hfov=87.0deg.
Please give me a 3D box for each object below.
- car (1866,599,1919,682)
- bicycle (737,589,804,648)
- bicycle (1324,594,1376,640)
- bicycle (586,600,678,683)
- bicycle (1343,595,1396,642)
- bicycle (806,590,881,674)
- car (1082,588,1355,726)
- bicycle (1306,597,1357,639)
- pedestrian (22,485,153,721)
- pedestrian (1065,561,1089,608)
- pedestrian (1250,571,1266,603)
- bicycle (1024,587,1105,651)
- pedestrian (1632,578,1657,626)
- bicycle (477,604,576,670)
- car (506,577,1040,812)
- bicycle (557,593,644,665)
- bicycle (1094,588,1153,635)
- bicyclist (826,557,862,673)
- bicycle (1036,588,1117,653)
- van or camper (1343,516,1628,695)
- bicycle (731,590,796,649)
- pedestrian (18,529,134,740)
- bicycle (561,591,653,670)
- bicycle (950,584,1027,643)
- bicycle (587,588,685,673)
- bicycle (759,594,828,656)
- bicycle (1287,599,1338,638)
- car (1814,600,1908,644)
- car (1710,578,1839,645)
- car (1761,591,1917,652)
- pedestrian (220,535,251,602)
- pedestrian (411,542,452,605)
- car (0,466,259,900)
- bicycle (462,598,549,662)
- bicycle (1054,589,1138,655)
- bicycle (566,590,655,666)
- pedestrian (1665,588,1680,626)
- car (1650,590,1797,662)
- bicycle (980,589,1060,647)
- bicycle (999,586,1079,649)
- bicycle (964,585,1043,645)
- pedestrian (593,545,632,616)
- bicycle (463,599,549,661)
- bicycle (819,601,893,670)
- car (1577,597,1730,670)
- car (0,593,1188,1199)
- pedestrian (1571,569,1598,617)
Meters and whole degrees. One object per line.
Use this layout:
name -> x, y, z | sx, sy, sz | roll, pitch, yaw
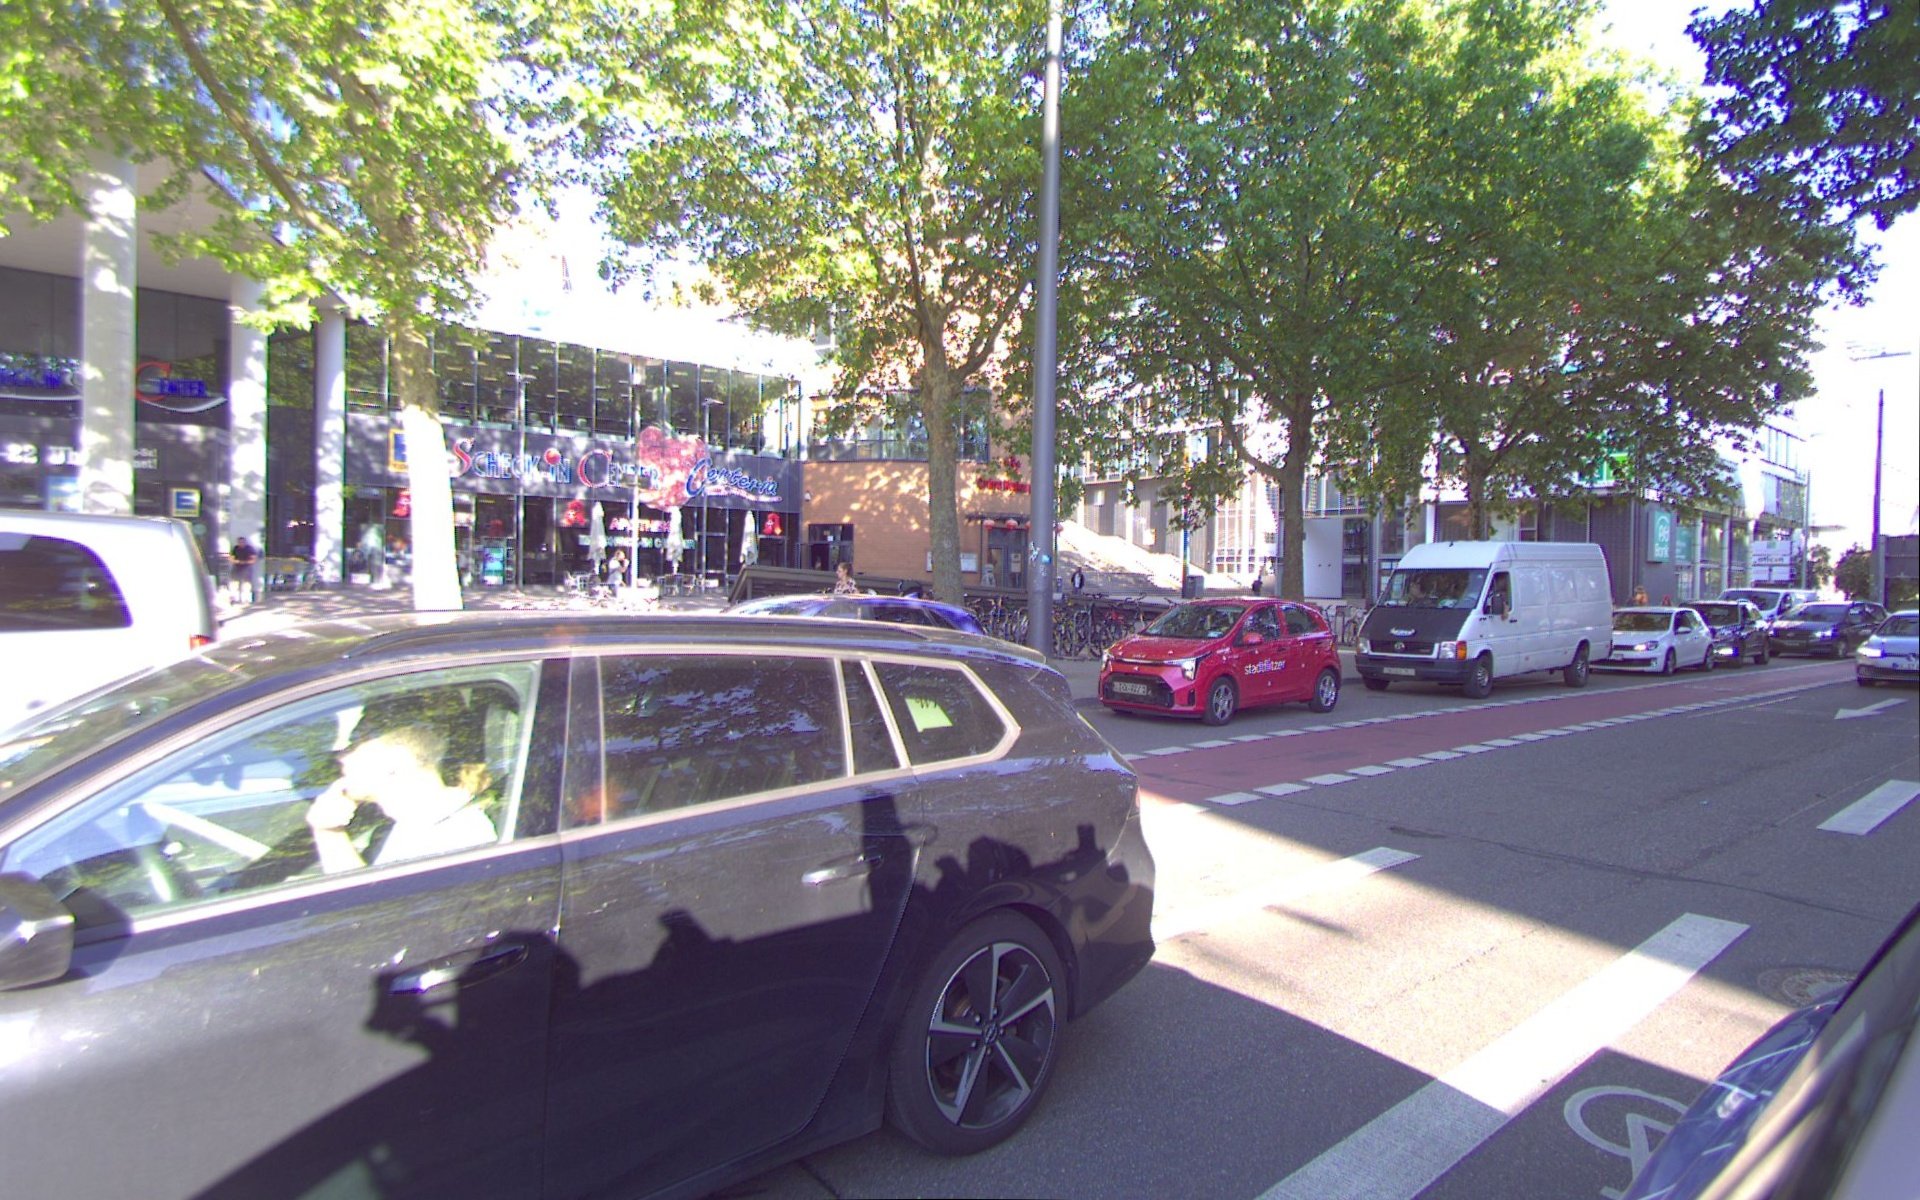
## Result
car -> 18.543, 0.716, 18.976 | 3.928, 1.458, 1.733 | 0, 0, -39
bicycle -> -3.646, 0.344, 19.505 | 1.202, 1.110, 0.444 | 0, 1, -40
bicycle -> 10.662, 0.447, 27.630 | 1.818, 1.209, 0.495 | 0, 2, -41
bicycle -> -4.584, 0.565, 14.180 | 1.202, 1.110, 0.269 | 0, 1, -40
bicycle -> 11.029, 0.480, 27.231 | 1.818, 1.209, 0.521 | 0, 2, -41
bicycle -> -1.818, 0.481, 15.820 | 1.126, 1.271, 0.379 | 0, 1, -41
car -> 3.351, 0.610, 12.817 | 3.588, 1.476, 1.605 | 0, 1, -41
bicycle -> 10.306, 0.493, 28.043 | 1.766, 1.108, 0.522 | 0, 2, -41
pedestrian -> -7.335, 0.019, 8.522 | 0.800, 1.868, 0.642 | 1, 1, -42
pedestrian -> 5.257, -0.702, 45.447 | 0.576, 2.062, 0.874 | 0, 1, -45
pedestrian -> 14.700, -0.650, 49.919 | 0.707, 1.578, 0.638 | 1, 1, 14
bicycle -> 2.107, 0.363, 20.258 | 1.818, 1.209, 0.484 | 0, 1, -41
pedestrian -> 25.650, 0.074, 37.927 | 0.443, 1.790, 0.627 | 0, 1, -38
bicycle -> -6.242, 0.519, 14.595 | 1.231, 0.898, 0.462 | 0, 1, -40
car -> -1.411, 0.599, 8.640 | 4.177, 1.503, 1.742 | 0, 2, -41
bicycle -> -5.785, 0.442, 16.317 | 0.414, 1.110, 1.269 | 2, 1, 41
bicycle -> 4.387, 0.306, 27.065 | 1.759, 1.209, 0.517 | 0, 2, -41
bicyclist -> -1.816, 0.226, 15.830 | 0.392, 1.782, 0.390 | 0, 1, -41
bicycle -> 2.295, 0.389, 19.749 | 1.818, 1.209, 0.448 | 0, 1, -41
van or camper -> 9.295, 0.065, 17.561 | 6.456, 2.611, 1.998 | 0, 0, -39
bicycle -> -3.891, 0.373, 20.048 | 1.202, 1.110, 0.429 | 0, 1, -40
pedestrian -> -7.920, 0.285, 9.097 | 0.751, 1.799, 0.648 | 1, 1, -40
bicycle -> -5.161, 0.425, 14.839 | 1.202, 1.110, 0.396 | 0, 1, -40
bicycle -> 0.633, 0.272, 21.700 | 1.818, 1.209, 0.434 | 0, 1, -41
bicycle -> -4.439, 0.400, 13.883 | 1.202, 1.110, 0.413 | 0, 1, -40
bicycle -> -3.092, 0.445, 18.858 | 1.202, 1.110, 0.427 | 0, 1, -40
bicycle -> 9.922, 0.507, 28.453 | 1.818, 1.046, 0.515 | 0, 2, -41
car -> 31.956, 0.736, 35.870 | 3.927, 1.394, 1.802 | 0, 2, -38
car -> 26.480, 0.348, 32.867 | 4.863, 2.020, 1.968 | 0, 1, -35
car -> 25.317, 0.584, 29.142 | 4.242, 1.640, 1.970 | 0, 1, -28
pedestrian -> -18.759, -0.804, 26.210 | 0.506, 1.707, 0.604 | 1, 1, -23
pedestrian -> -14.752, -0.741, 28.250 | 0.801, 1.728, 0.709 | 2, 1, 34
car -> -6.199, 0.357, 4.397 | 5.008, 2.004, 1.940 | 0, 2, -41
bicycle -> -6.962, 0.454, 15.542 | 1.198, 0.930, 0.442 | 1, 1, -22
bicycle -> 2.618, 0.400, 19.364 | 1.818, 1.209, 0.481 | 0, 1, -41
bicycle -> -5.363, 0.407, 15.587 | 0.372, 1.110, 1.269 | 2, 1, 41
pedestrian -> 26.798, 0.265, 38.073 | 0.492, 1.392, 0.301 | 0, 1, -37
car -> 19.042, 0.594, 25.184 | 4.148, 1.640, 1.819 | 0, 1, -36
bicycle -> 1.252, 0.353, 20.968 | 1.818, 1.139, 0.484 | 0, 2, -41
bicycle -> 1.625, 0.340, 20.519 | 1.818, 1.209, 0.447 | 0, 1, -41
bicycle -> 0.932, 0.298, 21.347 | 1.818, 1.209, 0.458 | 0, 1, -41
pedestrian -> -9.091, -0.511, 26.519 | 0.869, 1.805, 0.604 | 1, 1, -11
bicycle -> -7.124, 0.463, 15.920 | 1.198, 0.938, 0.465 | 1, 1, -22
bicycle -> -1.758, 0.587, 17.109 | 1.202, 1.110, 0.420 | 0, 1, -40
car -> 15.293, 0.678, 22.257 | 3.927, 1.446, 1.683 | 0, 1, -38
car -> -1.429, 0.701, 2.466 | 4.196, 1.432, 1.742 | 0, 0, -41
pedestrian -> 23.626, -0.265, 38.282 | 0.516, 1.790, 0.716 | 0, 1, -39
